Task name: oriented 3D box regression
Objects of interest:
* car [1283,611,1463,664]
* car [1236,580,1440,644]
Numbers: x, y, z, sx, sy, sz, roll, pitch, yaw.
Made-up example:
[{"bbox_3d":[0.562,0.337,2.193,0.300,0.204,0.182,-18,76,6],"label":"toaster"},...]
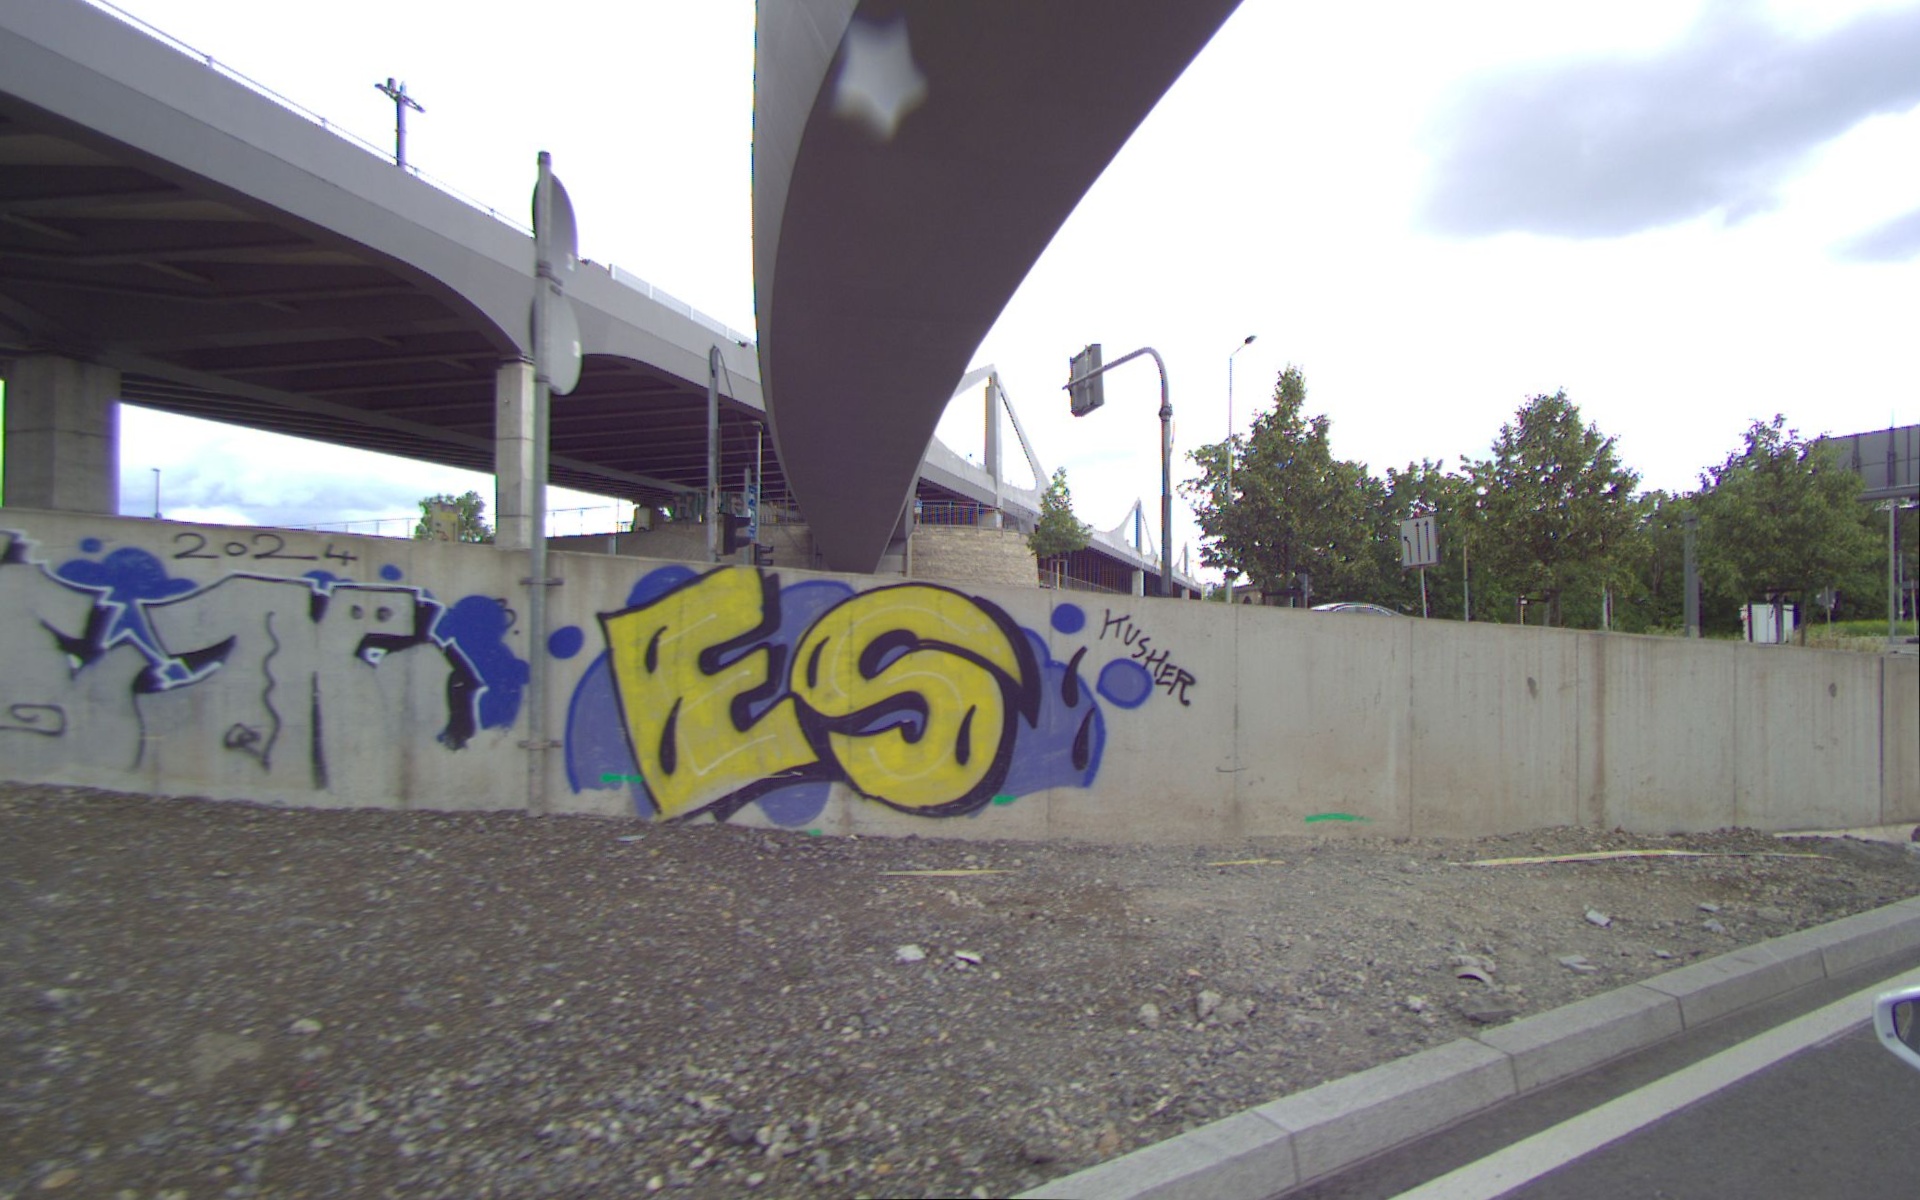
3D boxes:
[{"bbox_3d":[10.462,0.920,25.567,3.928,1.151,1.710,-2,0,-10],"label":"car"},{"bbox_3d":[9.457,0.287,25.221,4.534,1.497,1.791,-1,-1,-12],"label":"car"}]
